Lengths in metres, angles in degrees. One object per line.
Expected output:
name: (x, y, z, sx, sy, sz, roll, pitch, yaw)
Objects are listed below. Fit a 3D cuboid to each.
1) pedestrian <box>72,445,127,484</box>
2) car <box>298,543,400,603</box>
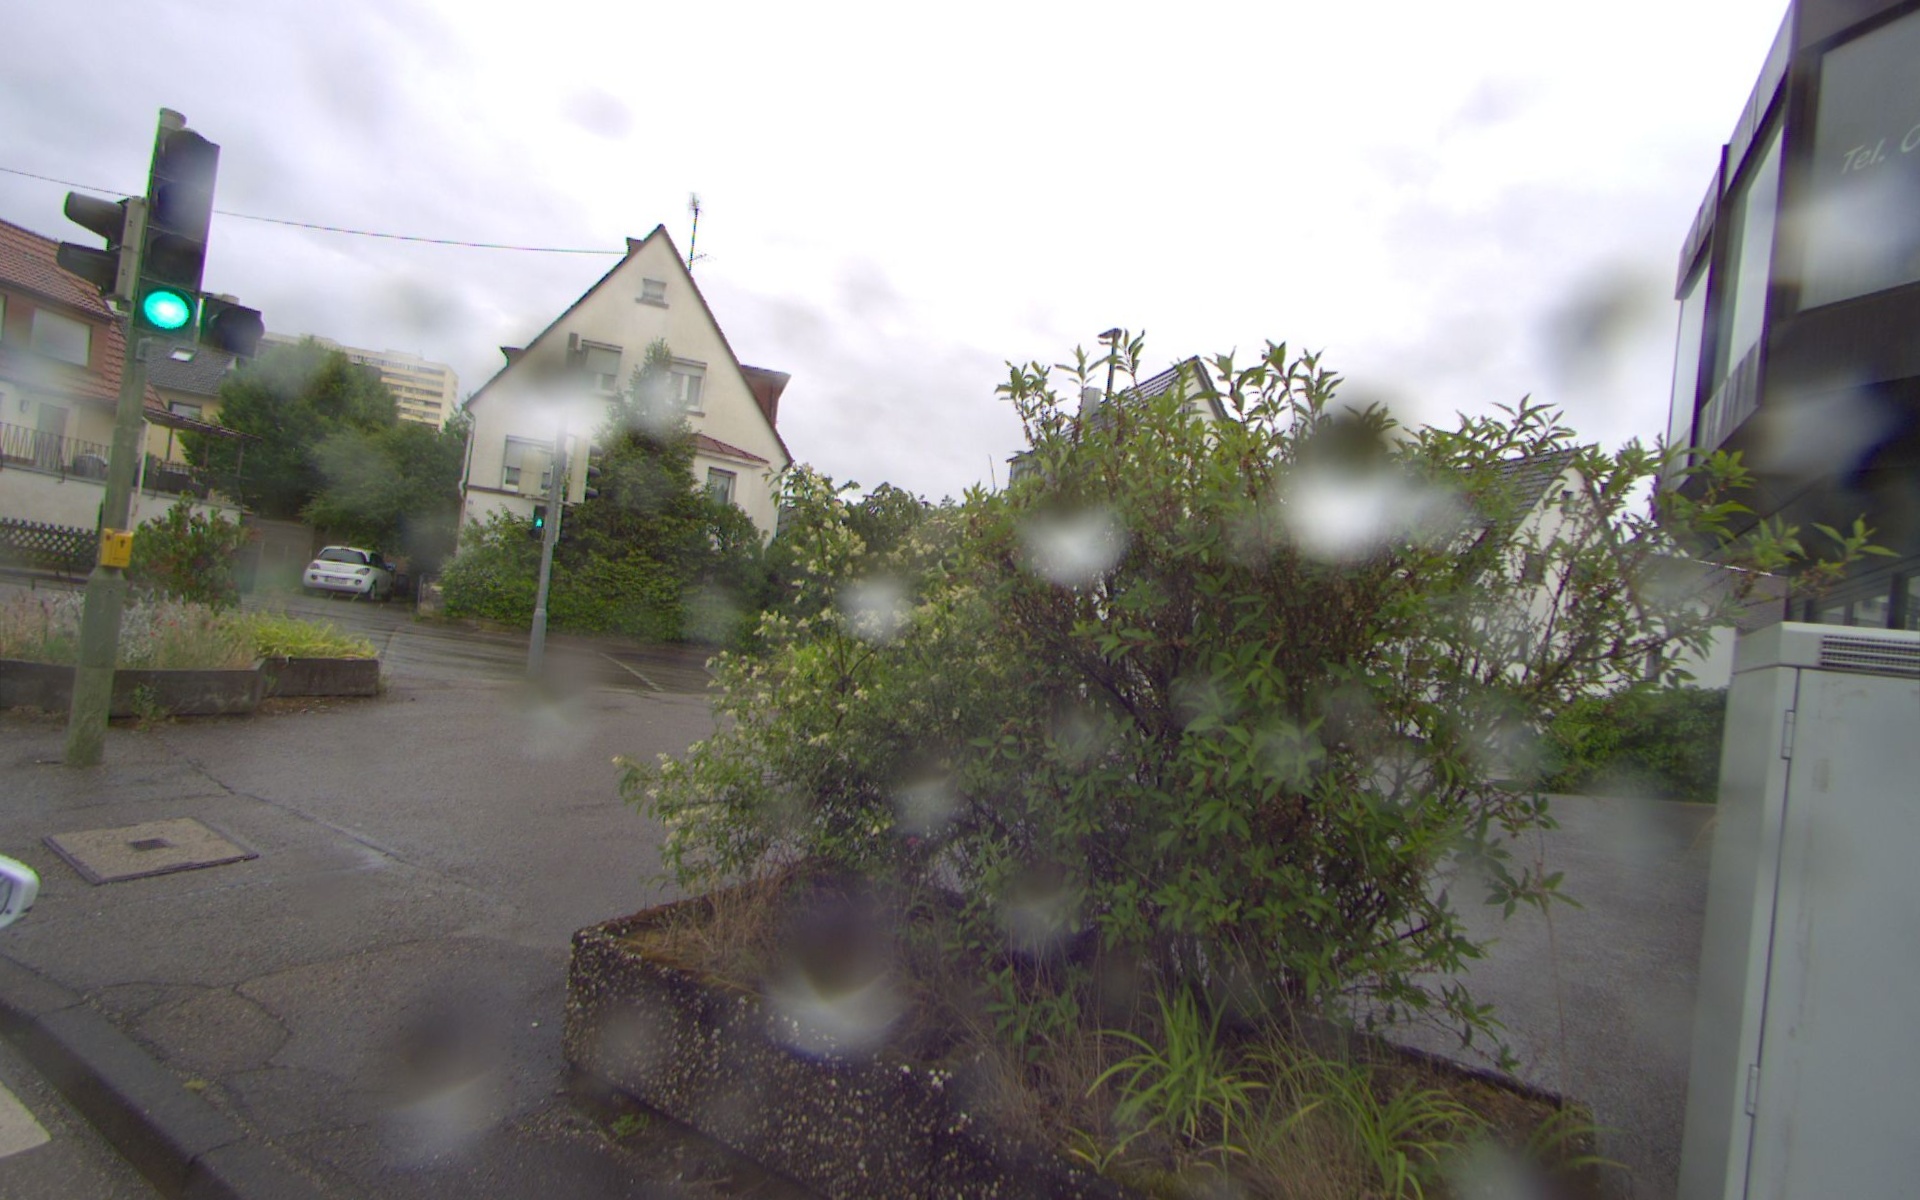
pedestrian: (-24.273, -3.812, 28.379, 0.623, 0.893, 0.920, 5, -2, 13)
car: (-17.757, -0.755, 29.430, 1.794, 1.378, 3.981, 8, -2, -22)
